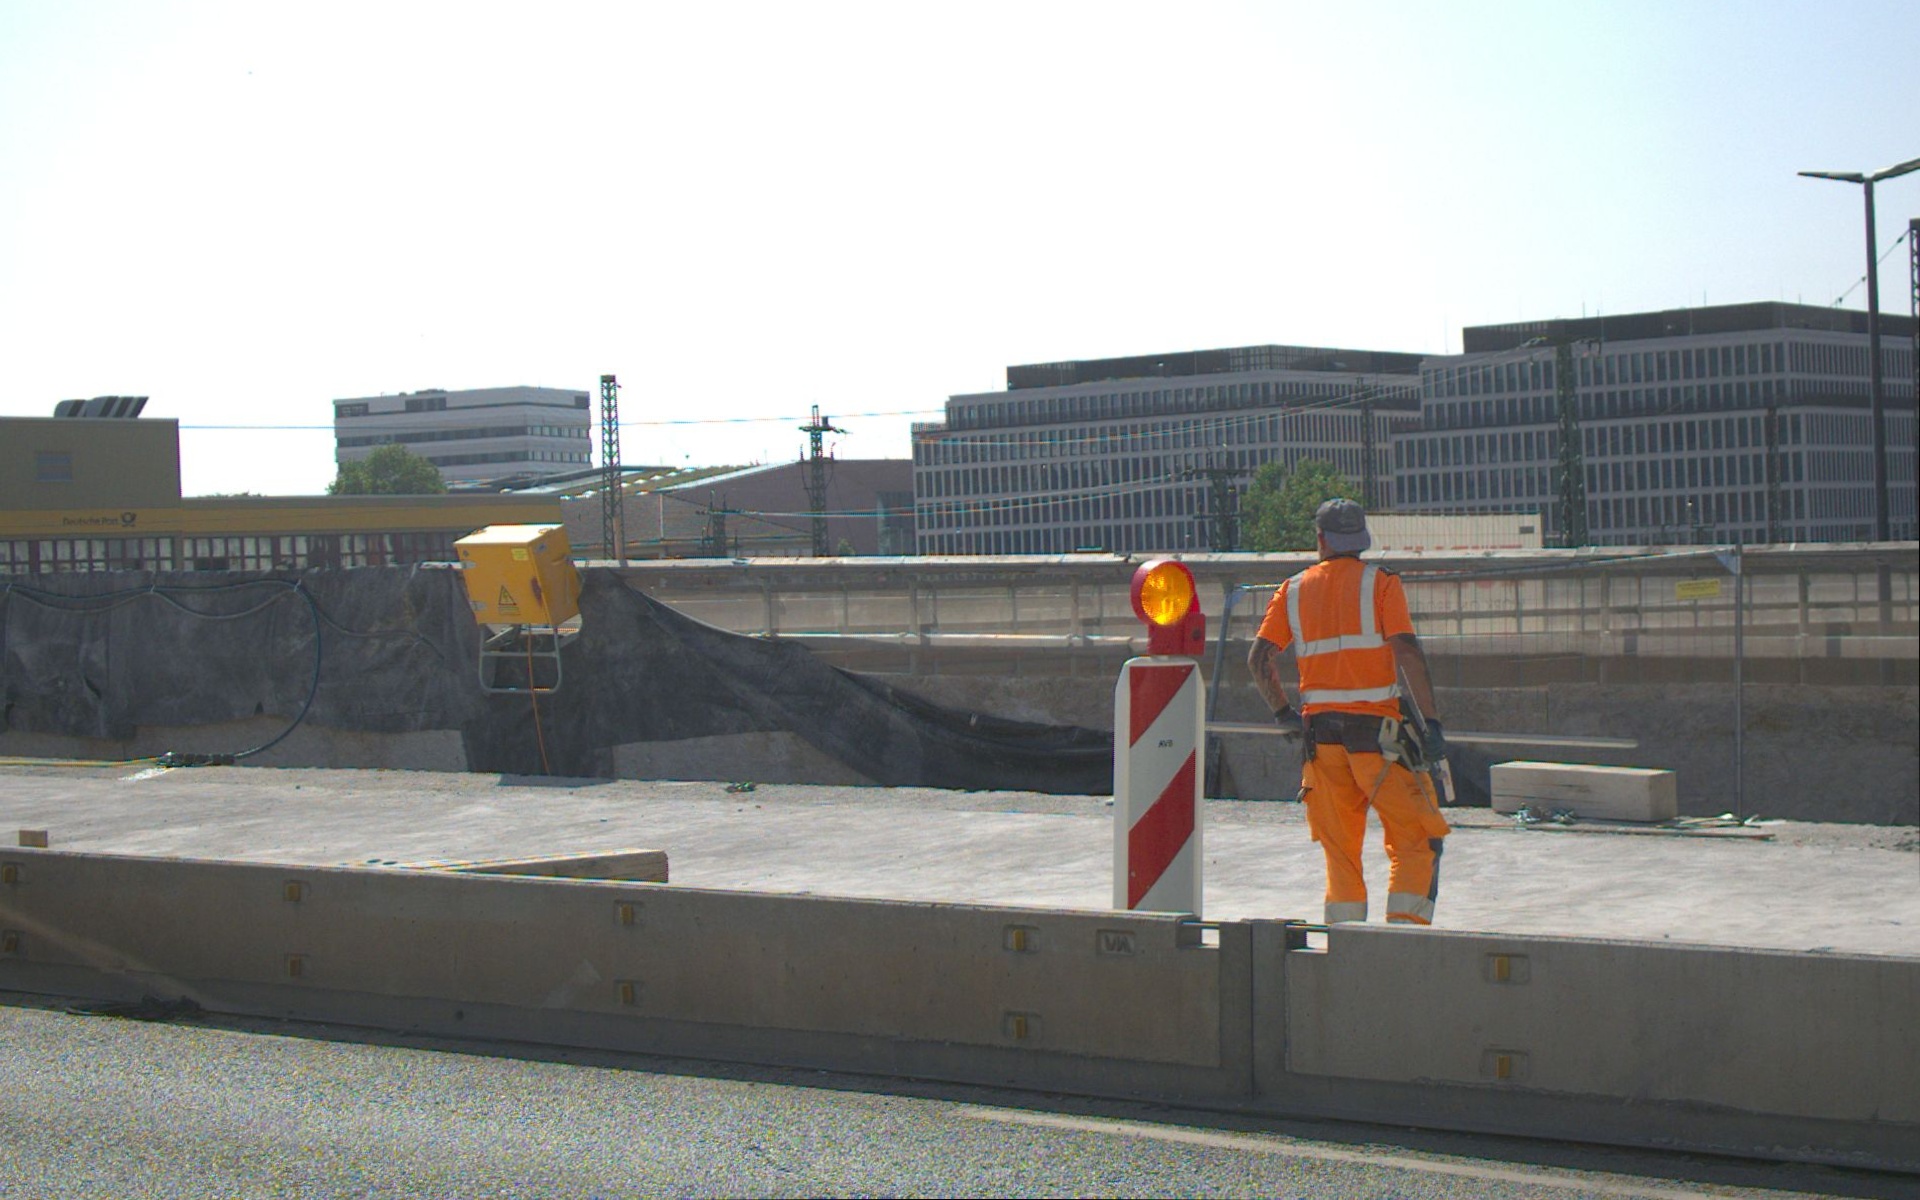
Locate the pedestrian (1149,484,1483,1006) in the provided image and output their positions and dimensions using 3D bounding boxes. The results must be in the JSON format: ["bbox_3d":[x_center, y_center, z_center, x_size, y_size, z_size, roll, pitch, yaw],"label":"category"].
[{"bbox_3d":[1.304,0.499,12.529,0.821,1.788,0.862,-1,3,35],"label":"pedestrian"}]
